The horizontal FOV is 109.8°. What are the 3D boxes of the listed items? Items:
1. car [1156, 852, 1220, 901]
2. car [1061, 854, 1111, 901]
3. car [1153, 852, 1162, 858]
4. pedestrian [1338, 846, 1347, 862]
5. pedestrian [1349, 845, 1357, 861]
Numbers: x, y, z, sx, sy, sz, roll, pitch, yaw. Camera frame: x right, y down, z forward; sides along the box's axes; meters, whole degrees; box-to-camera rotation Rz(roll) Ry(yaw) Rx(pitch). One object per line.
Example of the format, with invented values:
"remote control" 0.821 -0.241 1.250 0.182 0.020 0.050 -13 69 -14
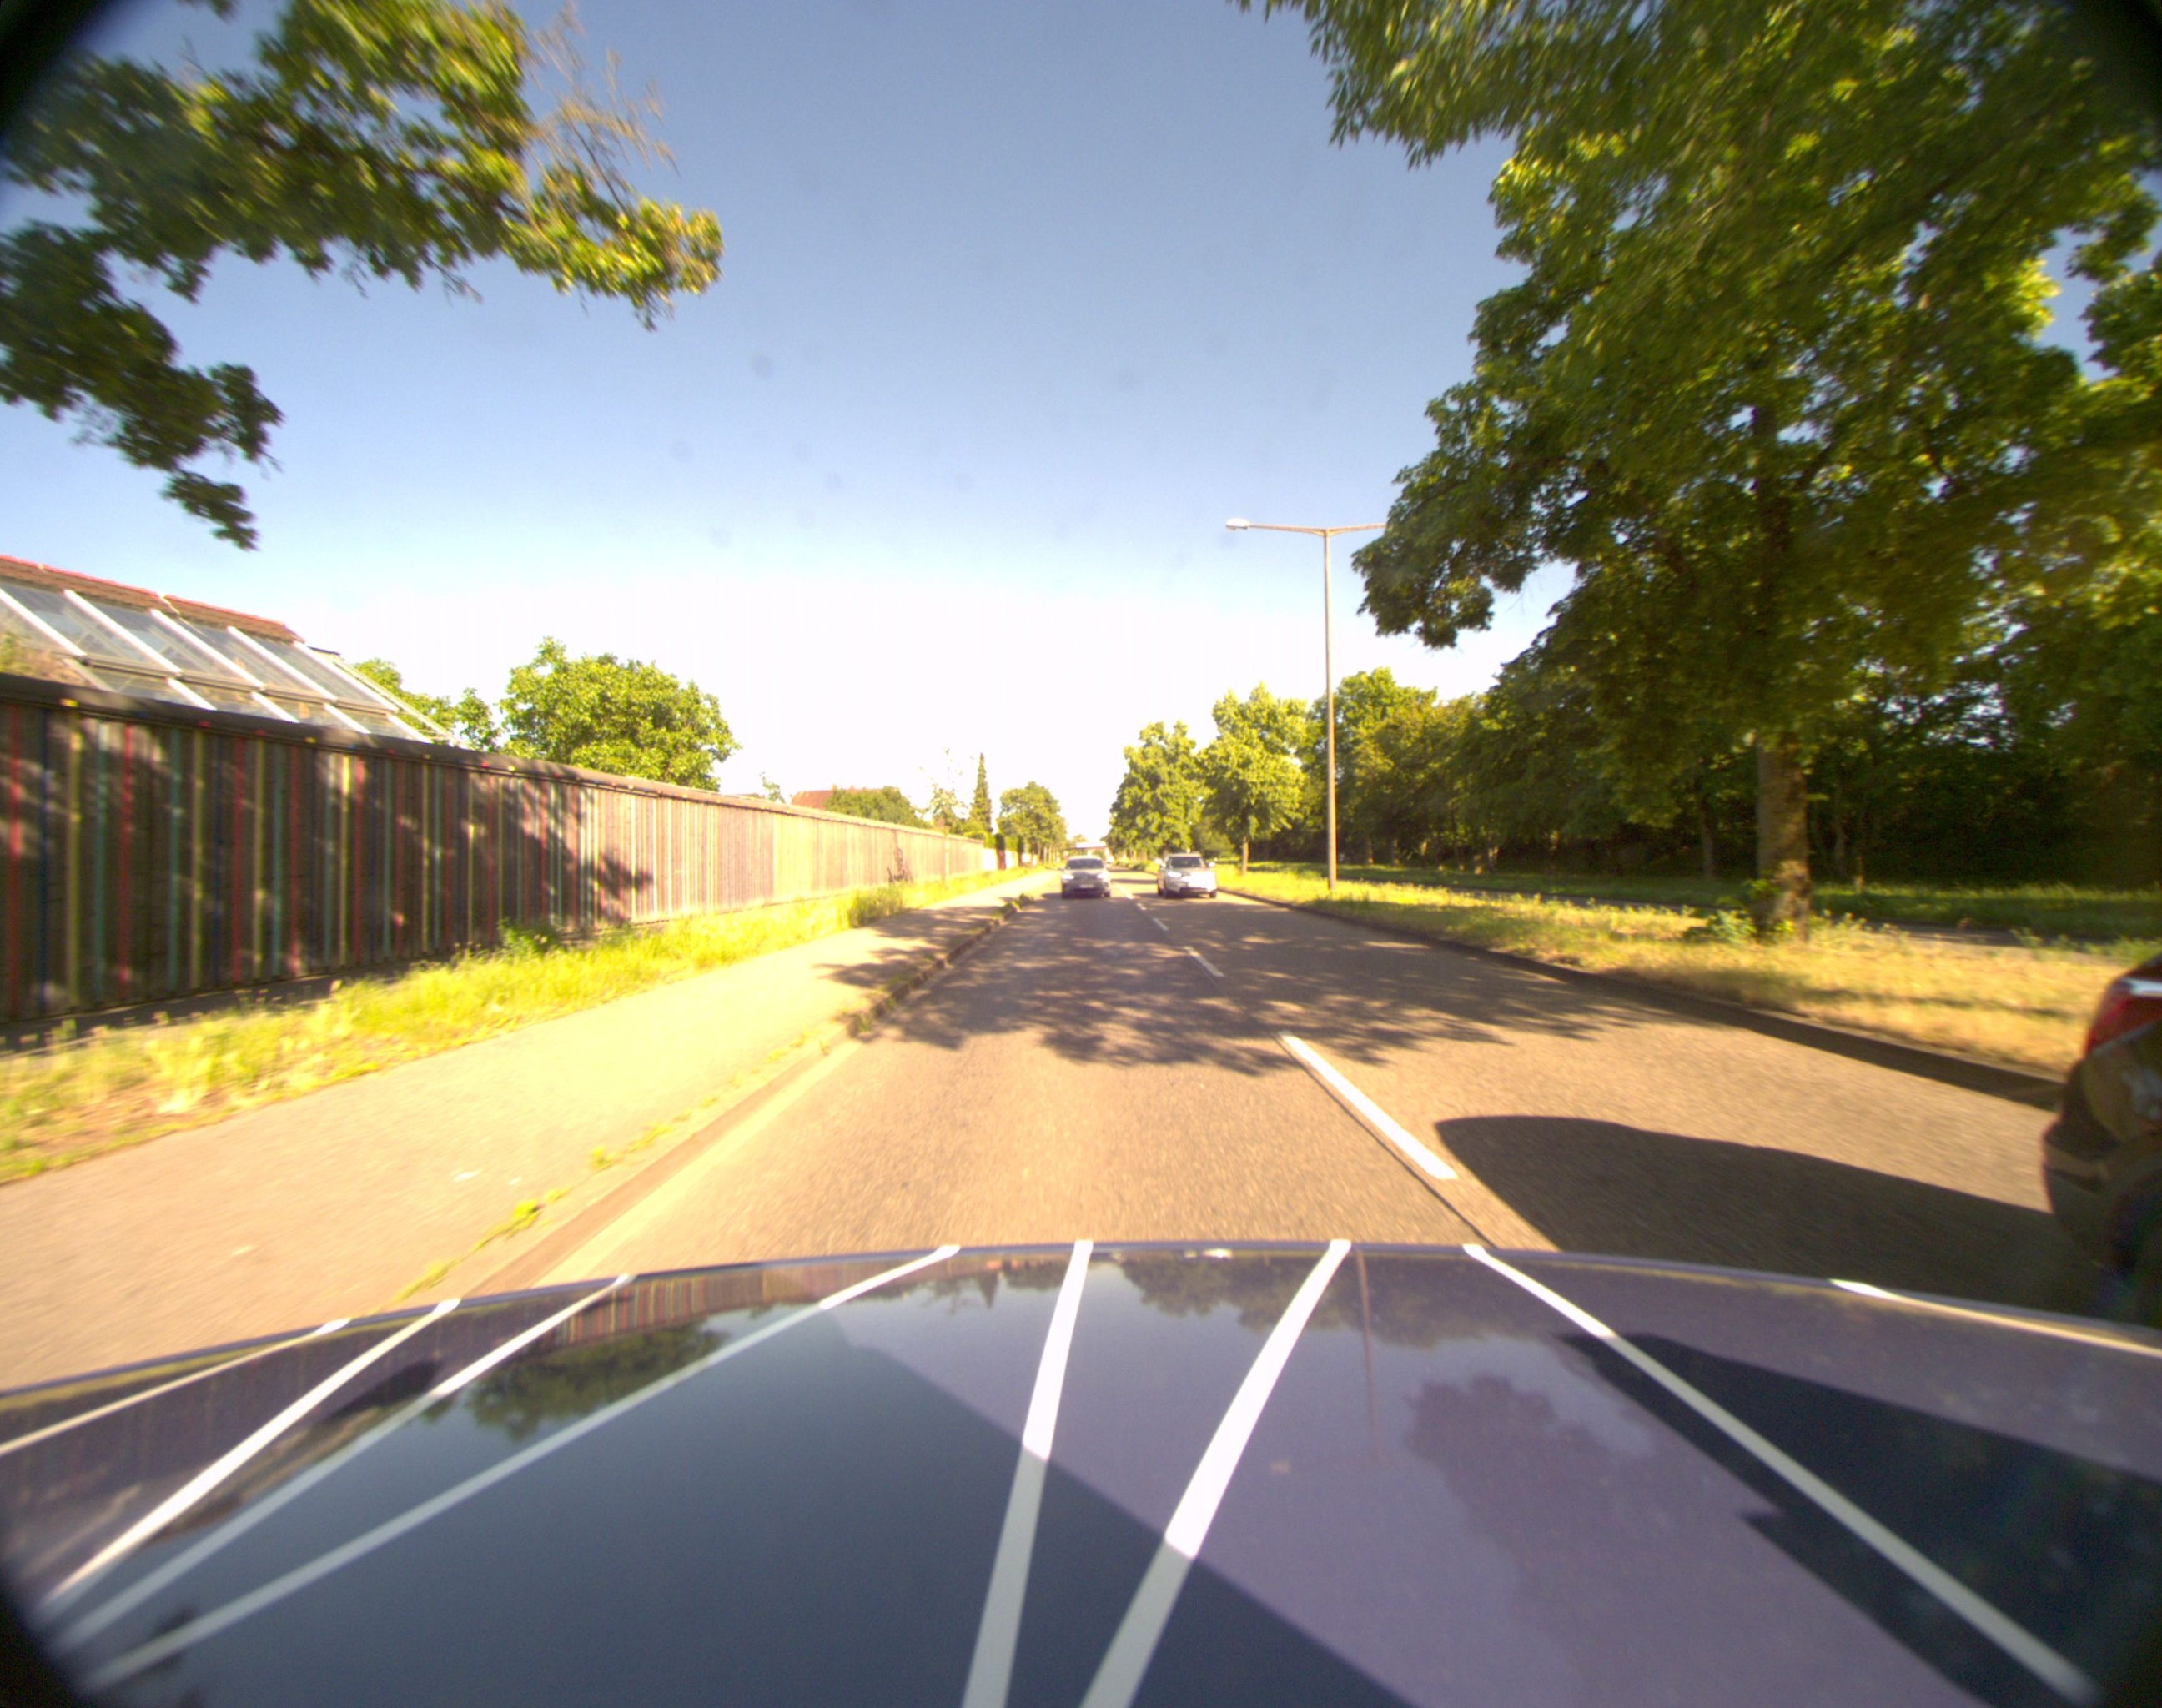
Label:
"car" 3.796 0.741 27.538 1.789 1.600 4.106 -1 0 1
"car" 0.208 0.854 30.091 1.766 1.606 4.297 -3 1 1
"car" 17.596 0.183 174.872 1.730 1.448 4.345 -1 0 1
"pedestrian" 28.092 0.015 81.561 0.683 1.650 0.680 -4 2 3
"pedestrian" 29.141 -0.086 81.364 0.561 1.650 0.540 -2 1 5
